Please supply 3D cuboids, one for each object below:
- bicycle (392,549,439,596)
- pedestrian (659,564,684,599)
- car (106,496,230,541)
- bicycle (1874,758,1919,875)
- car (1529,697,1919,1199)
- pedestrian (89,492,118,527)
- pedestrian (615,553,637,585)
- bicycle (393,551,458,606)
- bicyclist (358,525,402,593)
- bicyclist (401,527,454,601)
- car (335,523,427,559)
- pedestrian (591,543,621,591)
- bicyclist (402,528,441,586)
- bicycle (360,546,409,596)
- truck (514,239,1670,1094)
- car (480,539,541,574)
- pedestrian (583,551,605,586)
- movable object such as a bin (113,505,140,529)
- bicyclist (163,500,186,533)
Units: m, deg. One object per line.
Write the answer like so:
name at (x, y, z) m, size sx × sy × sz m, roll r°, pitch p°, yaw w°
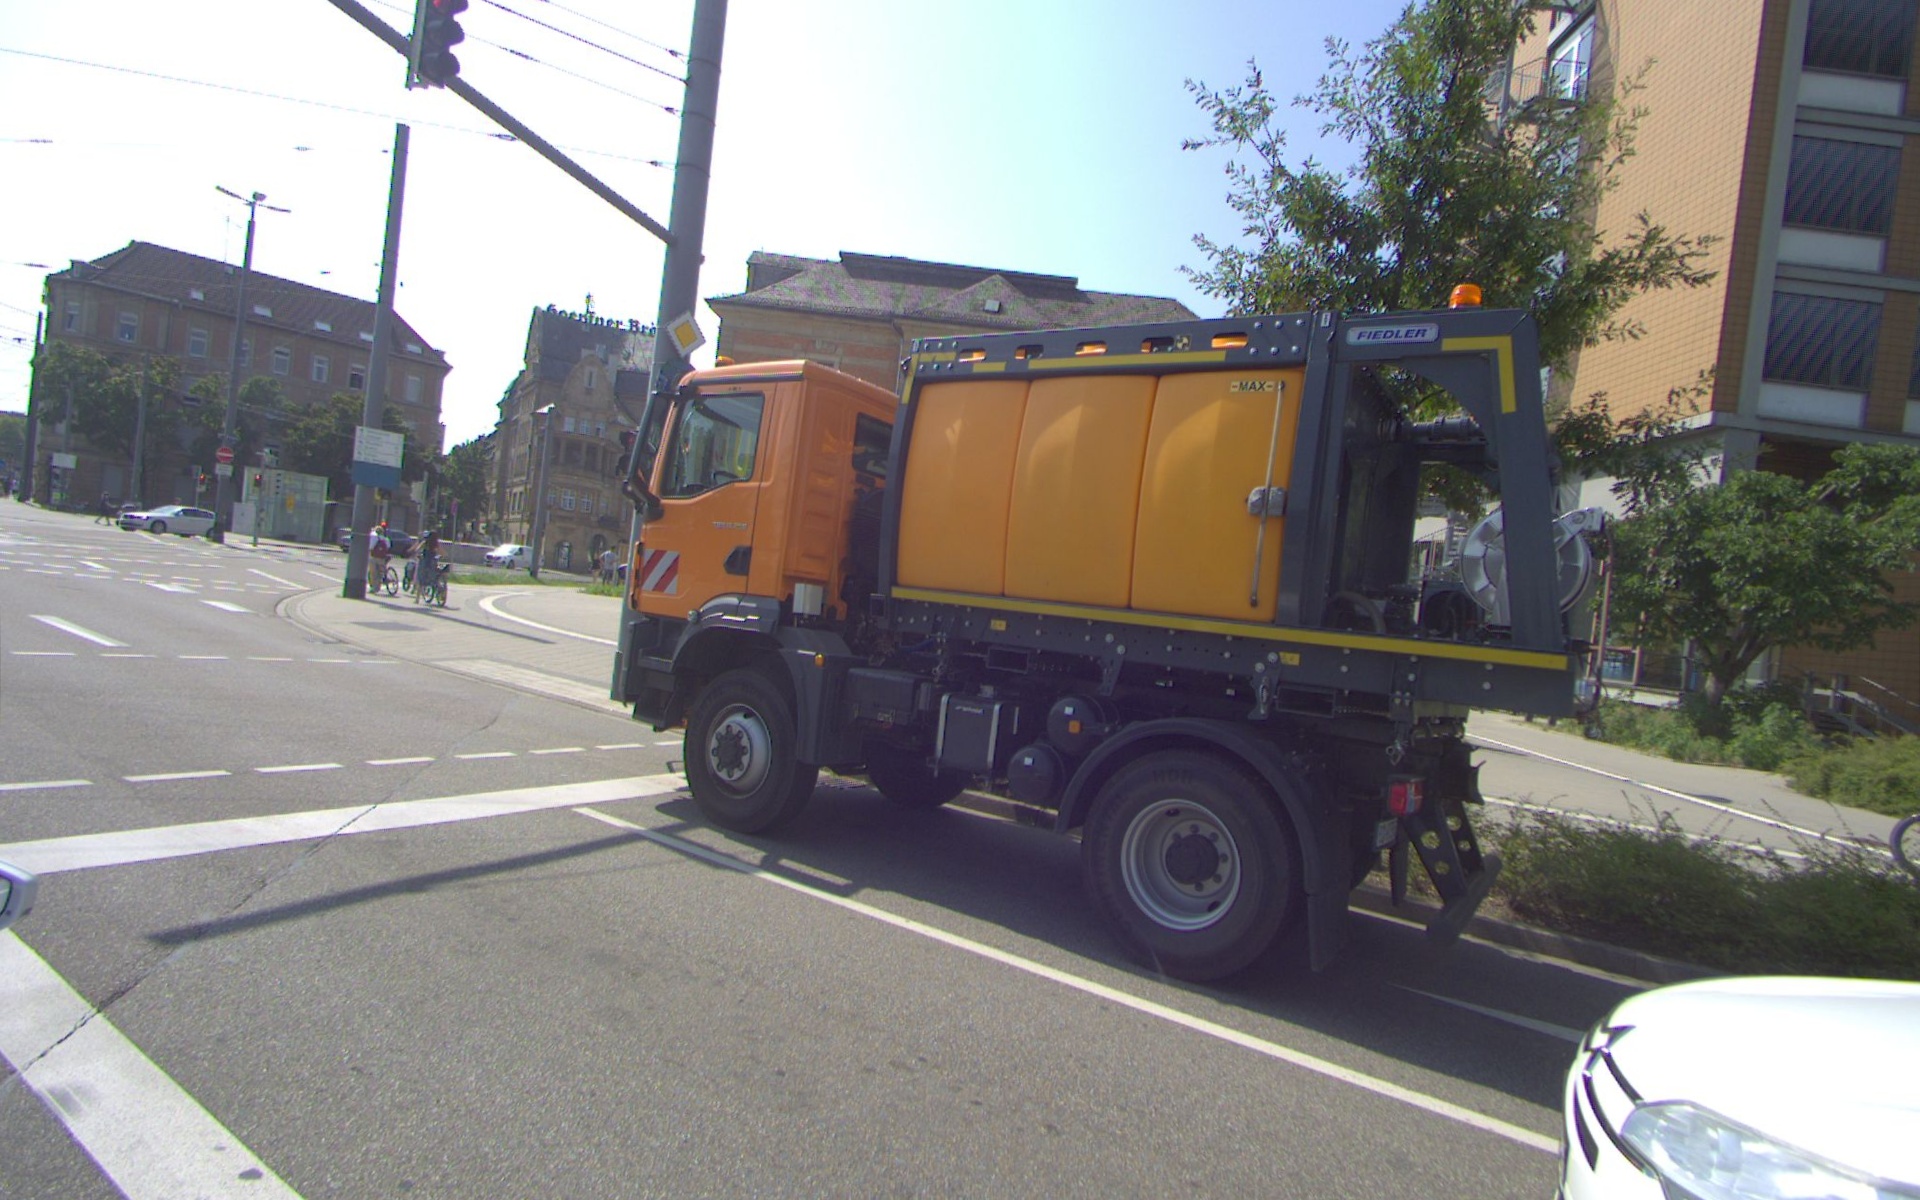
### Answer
bicycle at (-14.366, -0.734, 26.527) m, size 1.632 × 1.068 × 0.535 m, roll 7°, pitch 1°, yaw 45°
pedestrian at (-12.537, -0.785, 43.764) m, size 0.679 × 1.417 × 0.767 m, roll 7°, pitch 1°, yaw 7°
car at (-35.839, -3.658, 45.678) m, size 1.742 × 1.433 × 4.204 m, roll 7°, pitch 0°, yaw 11°
bicycle at (9.315, 2.057, 8.857) m, size 1.752 × 0.993 × 0.357 m, roll 7°, pitch 1°, yaw 32°
car at (3.271, 1.177, 1.091) m, size 4.533 × 1.446 × 1.770 m, roll 7°, pitch 0°, yaw 32°
pedestrian at (-42.773, -4.514, 50.218) m, size 0.519 × 1.564 × 0.852 m, roll 7°, pitch 1°, yaw 24°
pedestrian at (-13.682, -1.259, 41.217) m, size 0.659 × 1.229 × 0.523 m, roll 6°, pitch 1°, yaw -30°
bicycle at (-12.091, -0.491, 22.748) m, size 1.795 × 1.068 × 0.492 m, roll 7°, pitch 1°, yaw 37°
bicyclist at (-14.085, -0.990, 24.428) m, size 0.702 × 1.537 × 0.626 m, roll 7°, pitch 1°, yaw 44°
bicyclist at (-12.031, -0.810, 22.726) m, size 0.653 × 1.537 × 0.734 m, roll 7°, pitch 1°, yaw 36°
car at (-33.503, -3.384, 58.399) m, size 1.962 × 1.523 × 4.628 m, roll 7°, pitch 0°, yaw 12°
pedestrian at (-13.602, -1.251, 38.675) m, size 0.808 × 1.746 × 0.546 m, roll 7°, pitch 1°, yaw -9°
bicyclist at (-14.061, -1.117, 26.261) m, size 0.882 × 1.410 × 0.529 m, roll 7°, pitch 1°, yaw 44°
bicycle at (-13.890, -0.706, 24.267) m, size 1.632 × 1.068 × 0.535 m, roll 7°, pitch 1°, yaw 45°
truck at (0.320, 0.038, 6.642) m, size 6.751 × 3.172 × 2.494 m, roll 7°, pitch -1°, yaw 34°
car at (-32.060, -3.061, 71.925) m, size 1.963 × 2.038 × 4.626 m, roll 7°, pitch 0°, yaw 2°
pedestrian at (-17.423, -1.491, 47.925) m, size 0.727 × 1.595 × 0.787 m, roll 6°, pitch 1°, yaw -14°
movable object such as a bin at (-42.084, -4.195, 50.806) m, size 0.502 × 1.091 × 0.815 m, roll 7°, pitch 1°, yaw 21°
bicyclist at (-39.568, -4.208, 50.669) m, size 0.511 × 1.548 × 0.613 m, roll 7°, pitch 1°, yaw 8°
